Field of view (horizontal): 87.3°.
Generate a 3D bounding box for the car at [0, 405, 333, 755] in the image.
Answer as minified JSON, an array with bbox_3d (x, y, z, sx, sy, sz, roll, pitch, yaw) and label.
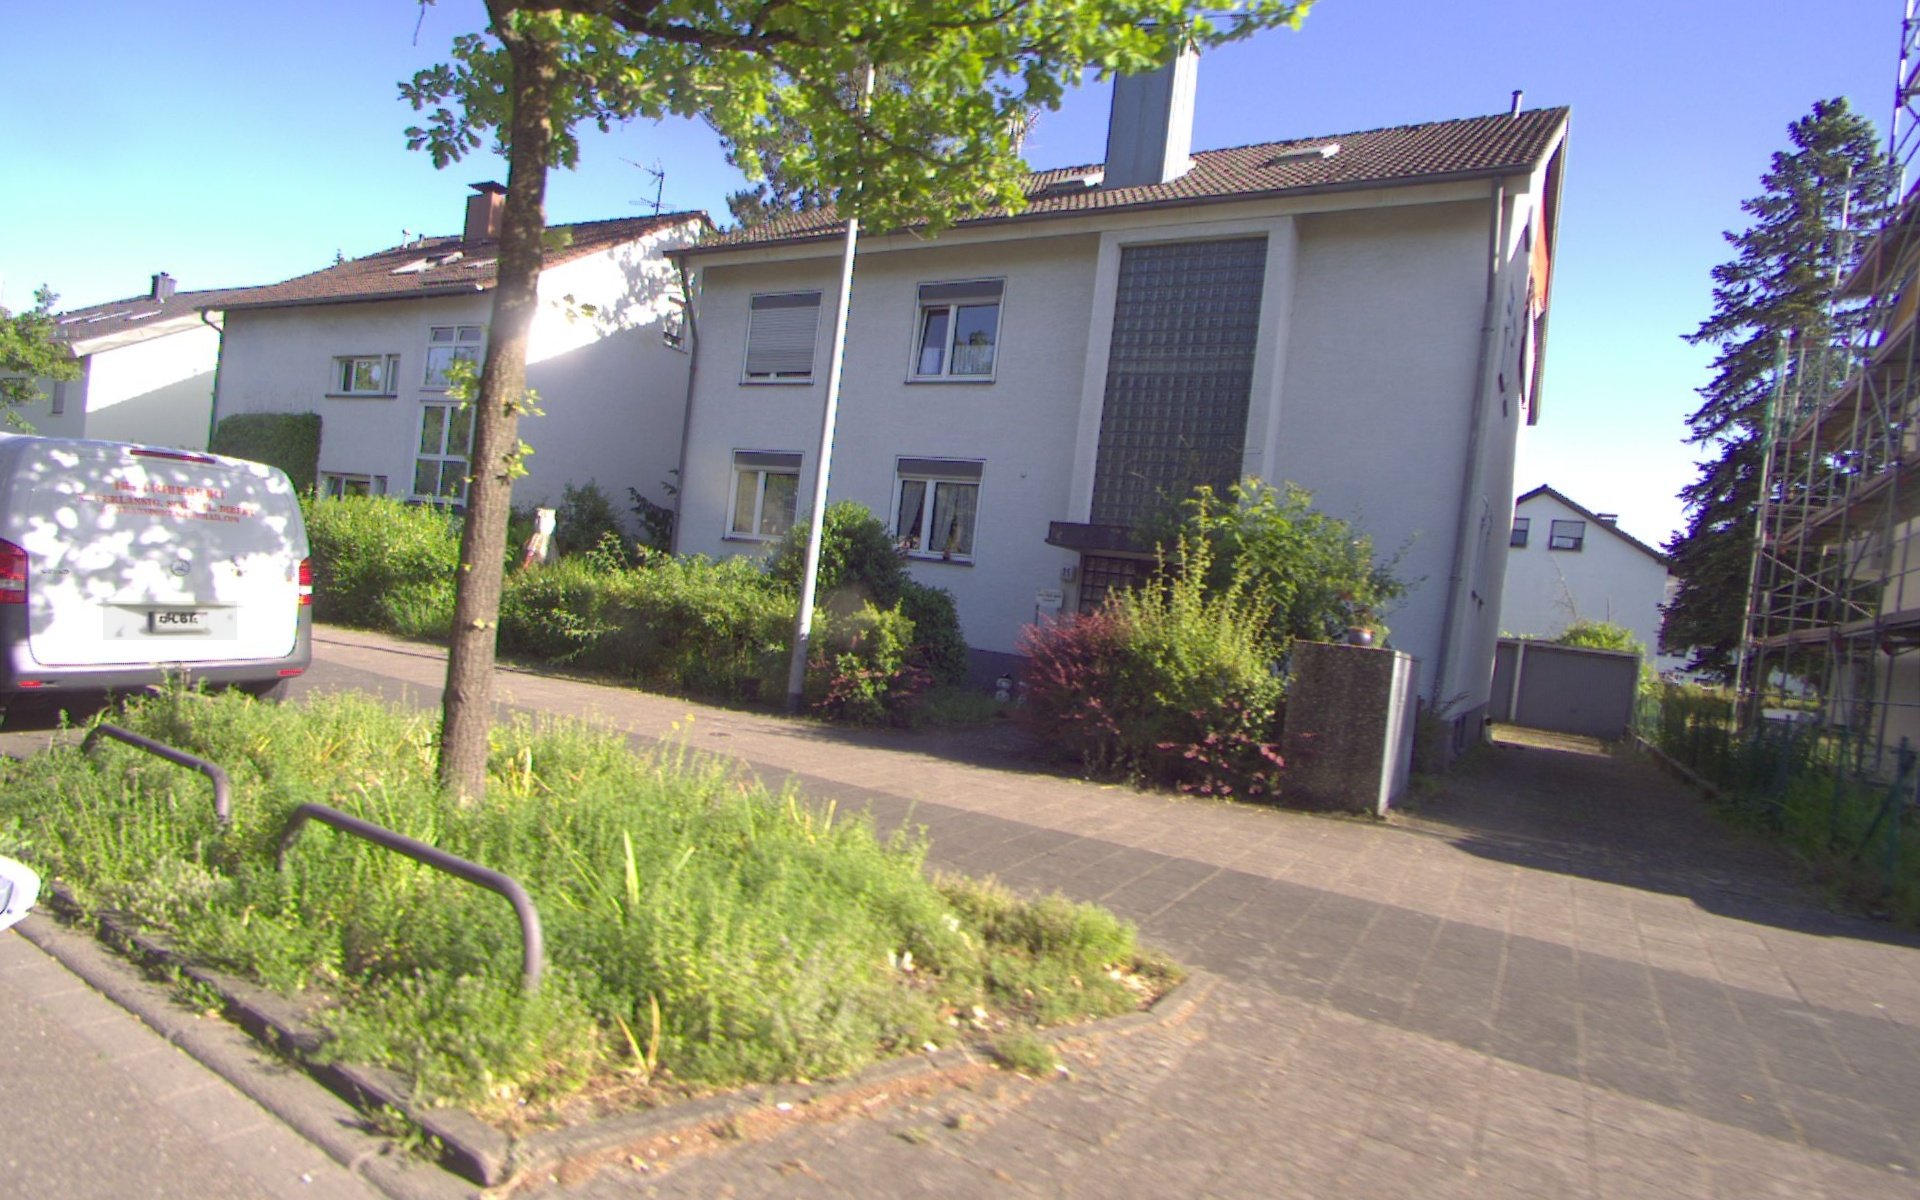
[{"bbox_3d":[-7.094,-0.251,7.621,4.678,1.995,1.839,6,0,29],"label":"car"}]
